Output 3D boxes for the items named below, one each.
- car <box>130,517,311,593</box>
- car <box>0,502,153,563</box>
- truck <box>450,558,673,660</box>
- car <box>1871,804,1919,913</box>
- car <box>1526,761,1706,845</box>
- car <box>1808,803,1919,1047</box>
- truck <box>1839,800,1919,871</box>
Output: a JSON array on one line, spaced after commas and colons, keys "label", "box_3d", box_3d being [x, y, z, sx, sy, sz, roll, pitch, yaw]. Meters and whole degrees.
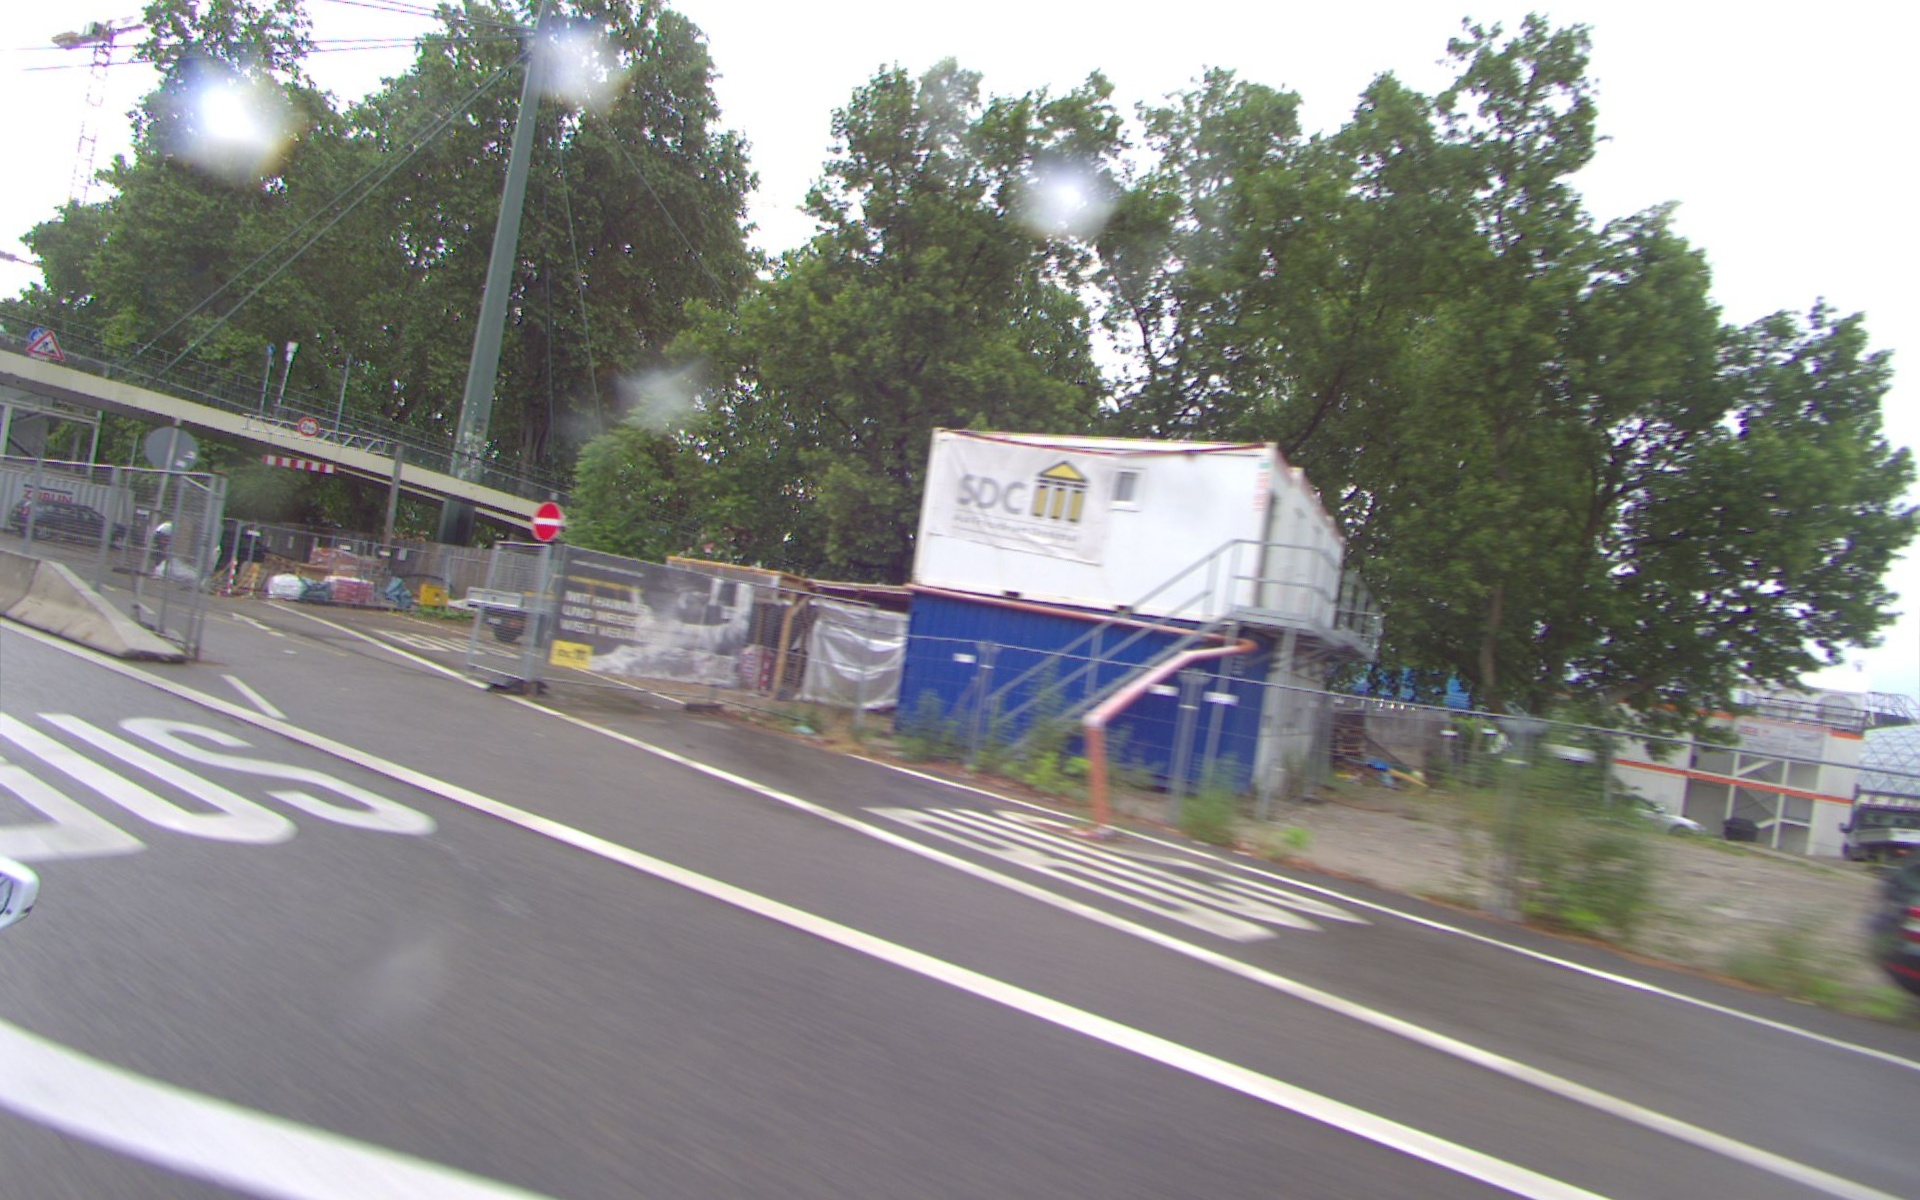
[{"label": "car", "box_3d": [-25.519, -1.514, 34.896, 1.965, 1.747, 4.515, 7, -3, 27]}, {"label": "car", "box_3d": [-37.497, -2.808, 42.709, 1.757, 1.647, 4.556, 9, -2, 30]}, {"label": "truck", "box_3d": [-10.529, 0.329, 27.075, 2.367, 2.035, 5.172, 6, -3, 26]}, {"label": "car", "box_3d": [14.544, 3.664, 12.814, 3.929, 1.320, 1.719, 6, -4, 26]}, {"label": "car", "box_3d": [24.874, 7.685, 38.474, 5.471, 2.072, 2.413, 6, -6, 31]}, {"label": "car", "box_3d": [8.844, 2.550, 7.125, 3.930, 1.502, 1.856, 3, -3, 26]}, {"label": "truck", "box_3d": [32.496, 8.141, 34.533, 2.371, 2.072, 5.568, 6, -7, 31]}]
